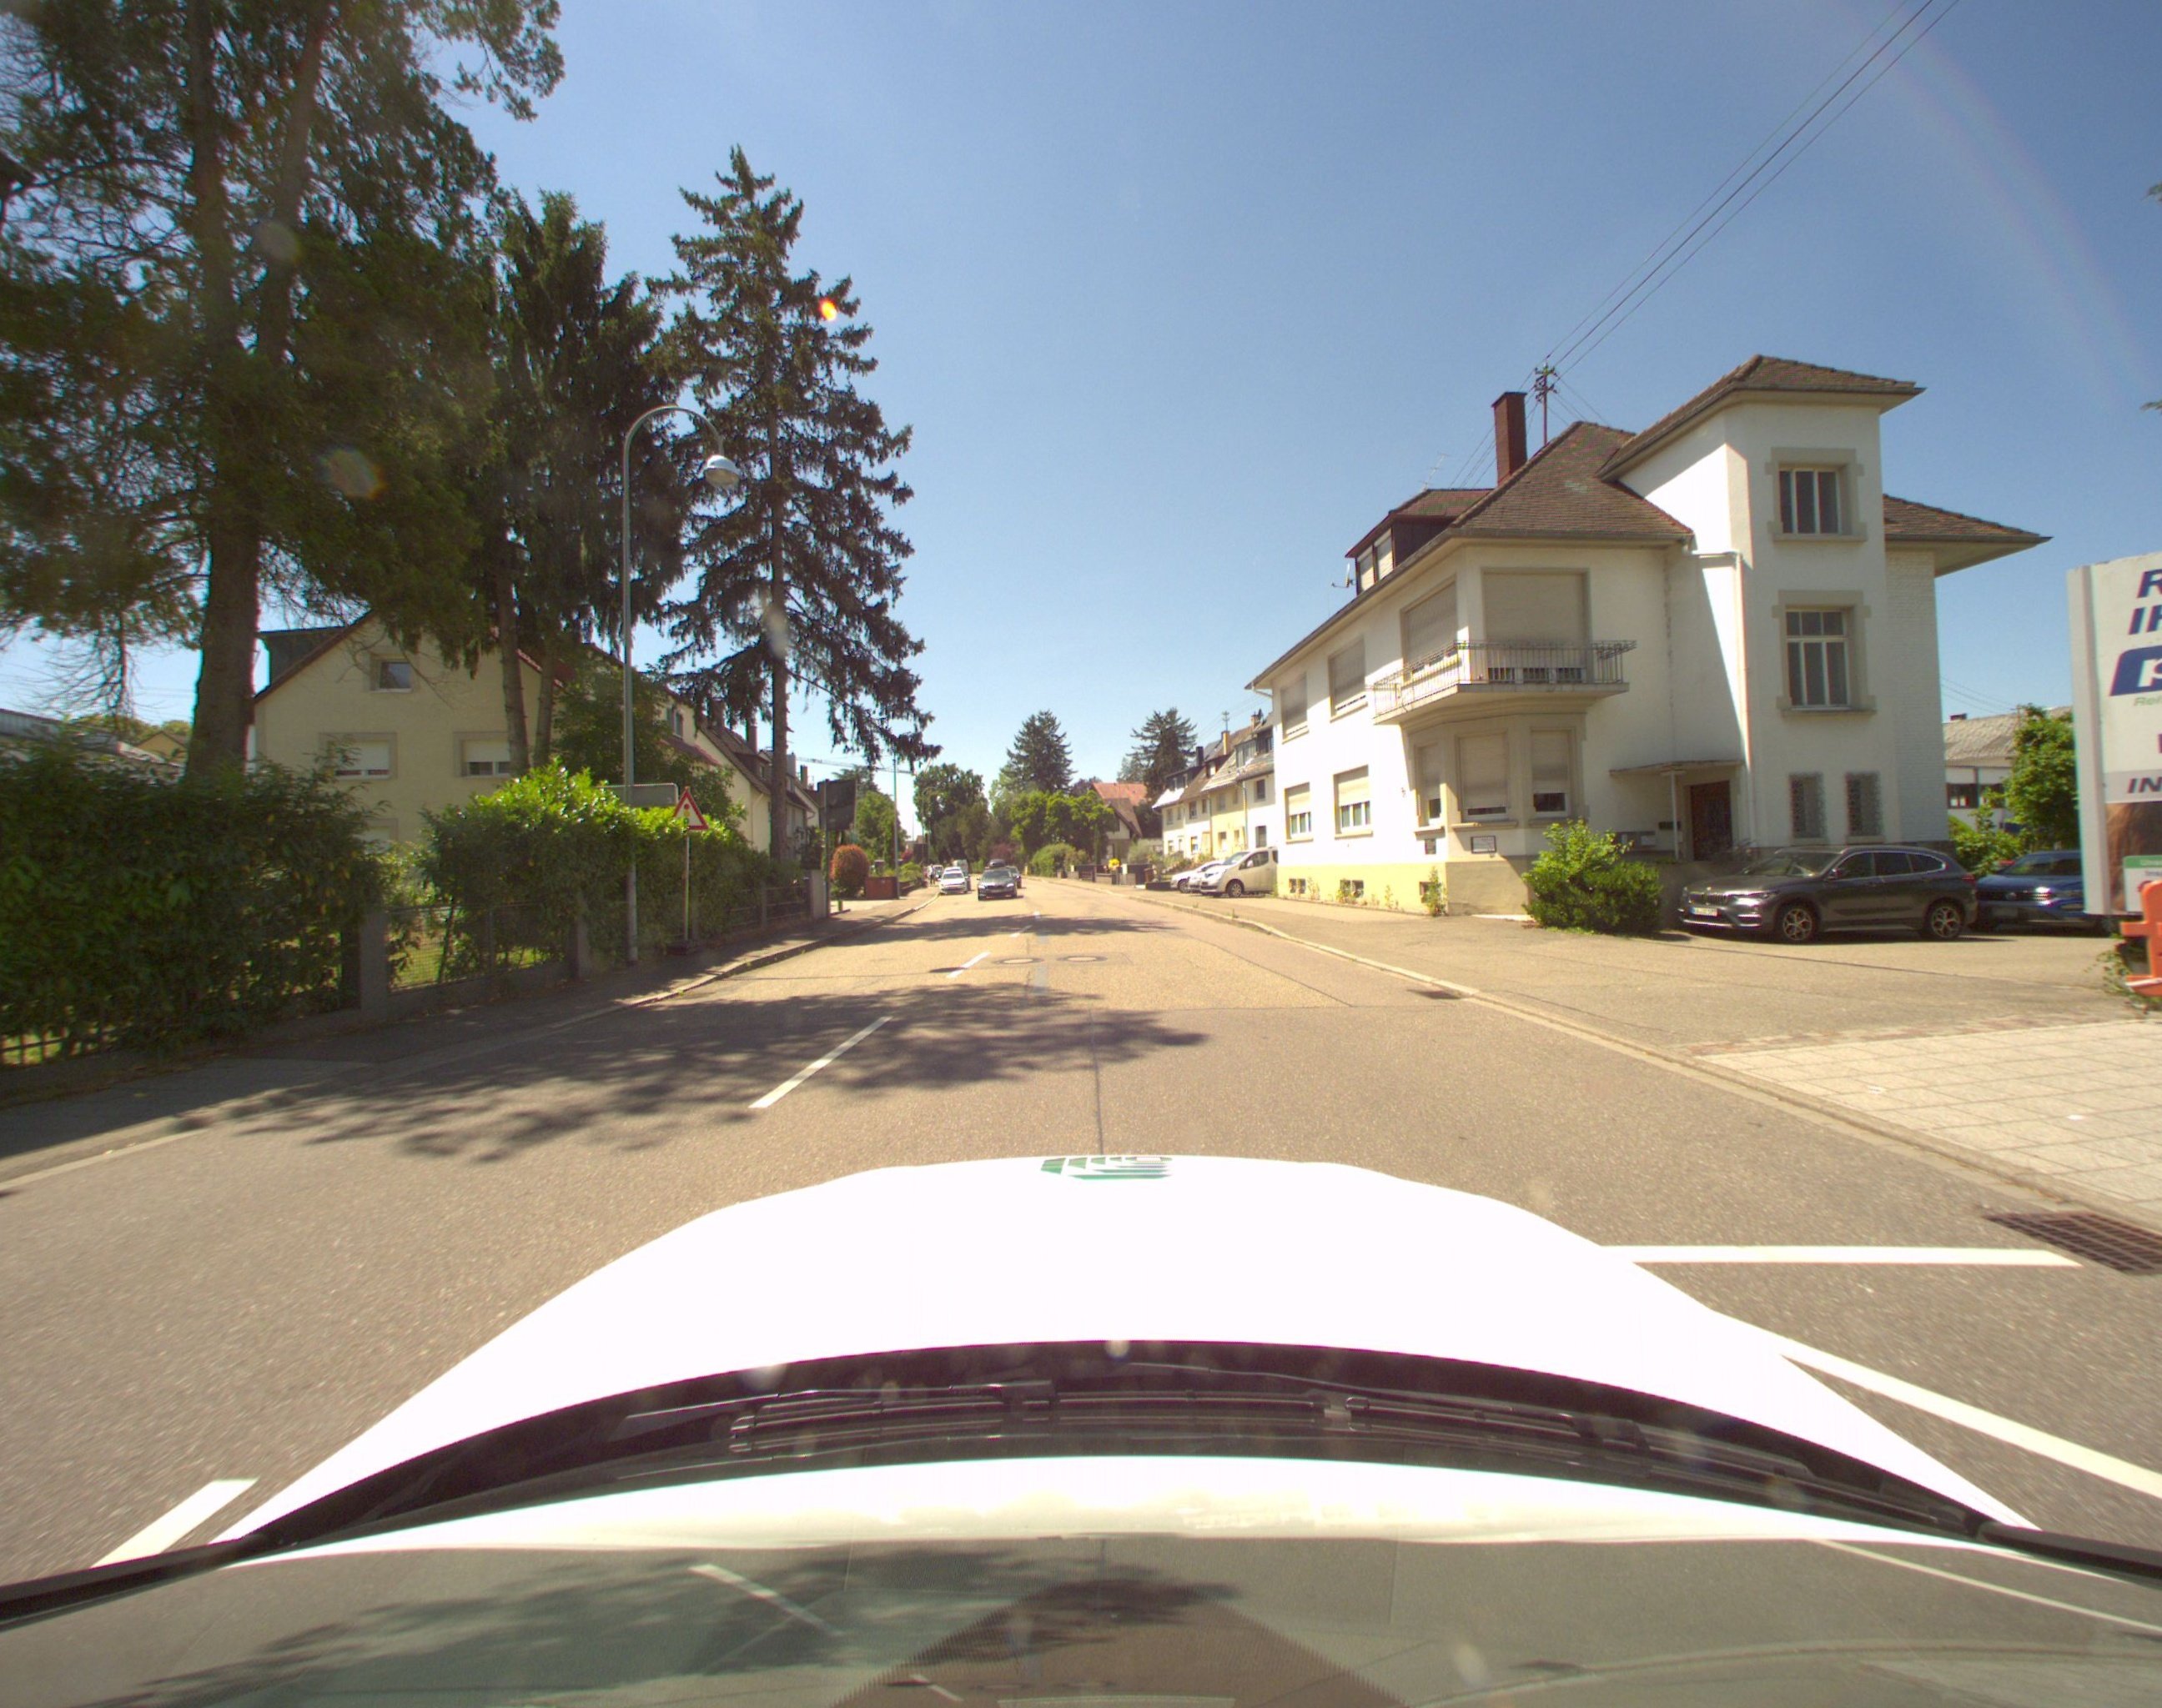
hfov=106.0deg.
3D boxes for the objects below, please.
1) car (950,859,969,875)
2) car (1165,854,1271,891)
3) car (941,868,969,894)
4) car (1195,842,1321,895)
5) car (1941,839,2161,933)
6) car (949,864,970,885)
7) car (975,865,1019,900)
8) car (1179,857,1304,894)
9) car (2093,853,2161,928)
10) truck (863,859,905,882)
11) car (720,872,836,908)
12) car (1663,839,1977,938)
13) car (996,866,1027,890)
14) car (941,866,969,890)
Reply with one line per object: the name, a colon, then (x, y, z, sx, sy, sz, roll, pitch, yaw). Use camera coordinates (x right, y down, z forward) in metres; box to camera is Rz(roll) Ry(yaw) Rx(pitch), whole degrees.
car: (-19.164, 2.104, 128.320, 2.148, 2.315, 4.826, -3, 0, -16)
car: (6.025, 0.837, 35.779, 4.251, 1.548, 1.766, 0, -2, 26)
car: (-7.933, 1.694, 51.391, 1.578, 1.423, 3.930, -4, 0, -8)
car: (6.573, 0.551, 30.333, 4.297, 1.831, 1.730, 1, -1, -15)
car: (18.401, 0.549, 15.191, 3.996, 1.592, 1.597, 0, -1, -17)
car: (-11.413, 1.897, 76.560, 1.723, 1.736, 3.873, -4, 0, -10)
car: (-4.002, 1.317, 39.409, 1.802, 1.488, 4.381, -4, -1, -3)
car: (6.443, 0.865, 32.924, 4.632, 1.409, 1.765, 1, -1, -6)
car: (22.909, 0.707, 16.639, 3.999, 1.471, 1.551, 0, -1, -19)
truck: (-18.751, 1.582, 77.566, 3.771, 1.938, 1.540, -3, 0, -12)
car: (-13.458, 1.579, 36.403, 4.458, 1.441, 1.845, -1, -1, -3)
car: (12.700, 0.574, 14.153, 3.979, 1.592, 1.795, 0, -1, -4)
car: (-4.825, 1.653, 56.945, 1.736, 1.505, 4.140, -4, -1, -1)
car: (-8.895, 1.667, 57.610, 1.768, 1.438, 4.350, -4, 0, -8)
